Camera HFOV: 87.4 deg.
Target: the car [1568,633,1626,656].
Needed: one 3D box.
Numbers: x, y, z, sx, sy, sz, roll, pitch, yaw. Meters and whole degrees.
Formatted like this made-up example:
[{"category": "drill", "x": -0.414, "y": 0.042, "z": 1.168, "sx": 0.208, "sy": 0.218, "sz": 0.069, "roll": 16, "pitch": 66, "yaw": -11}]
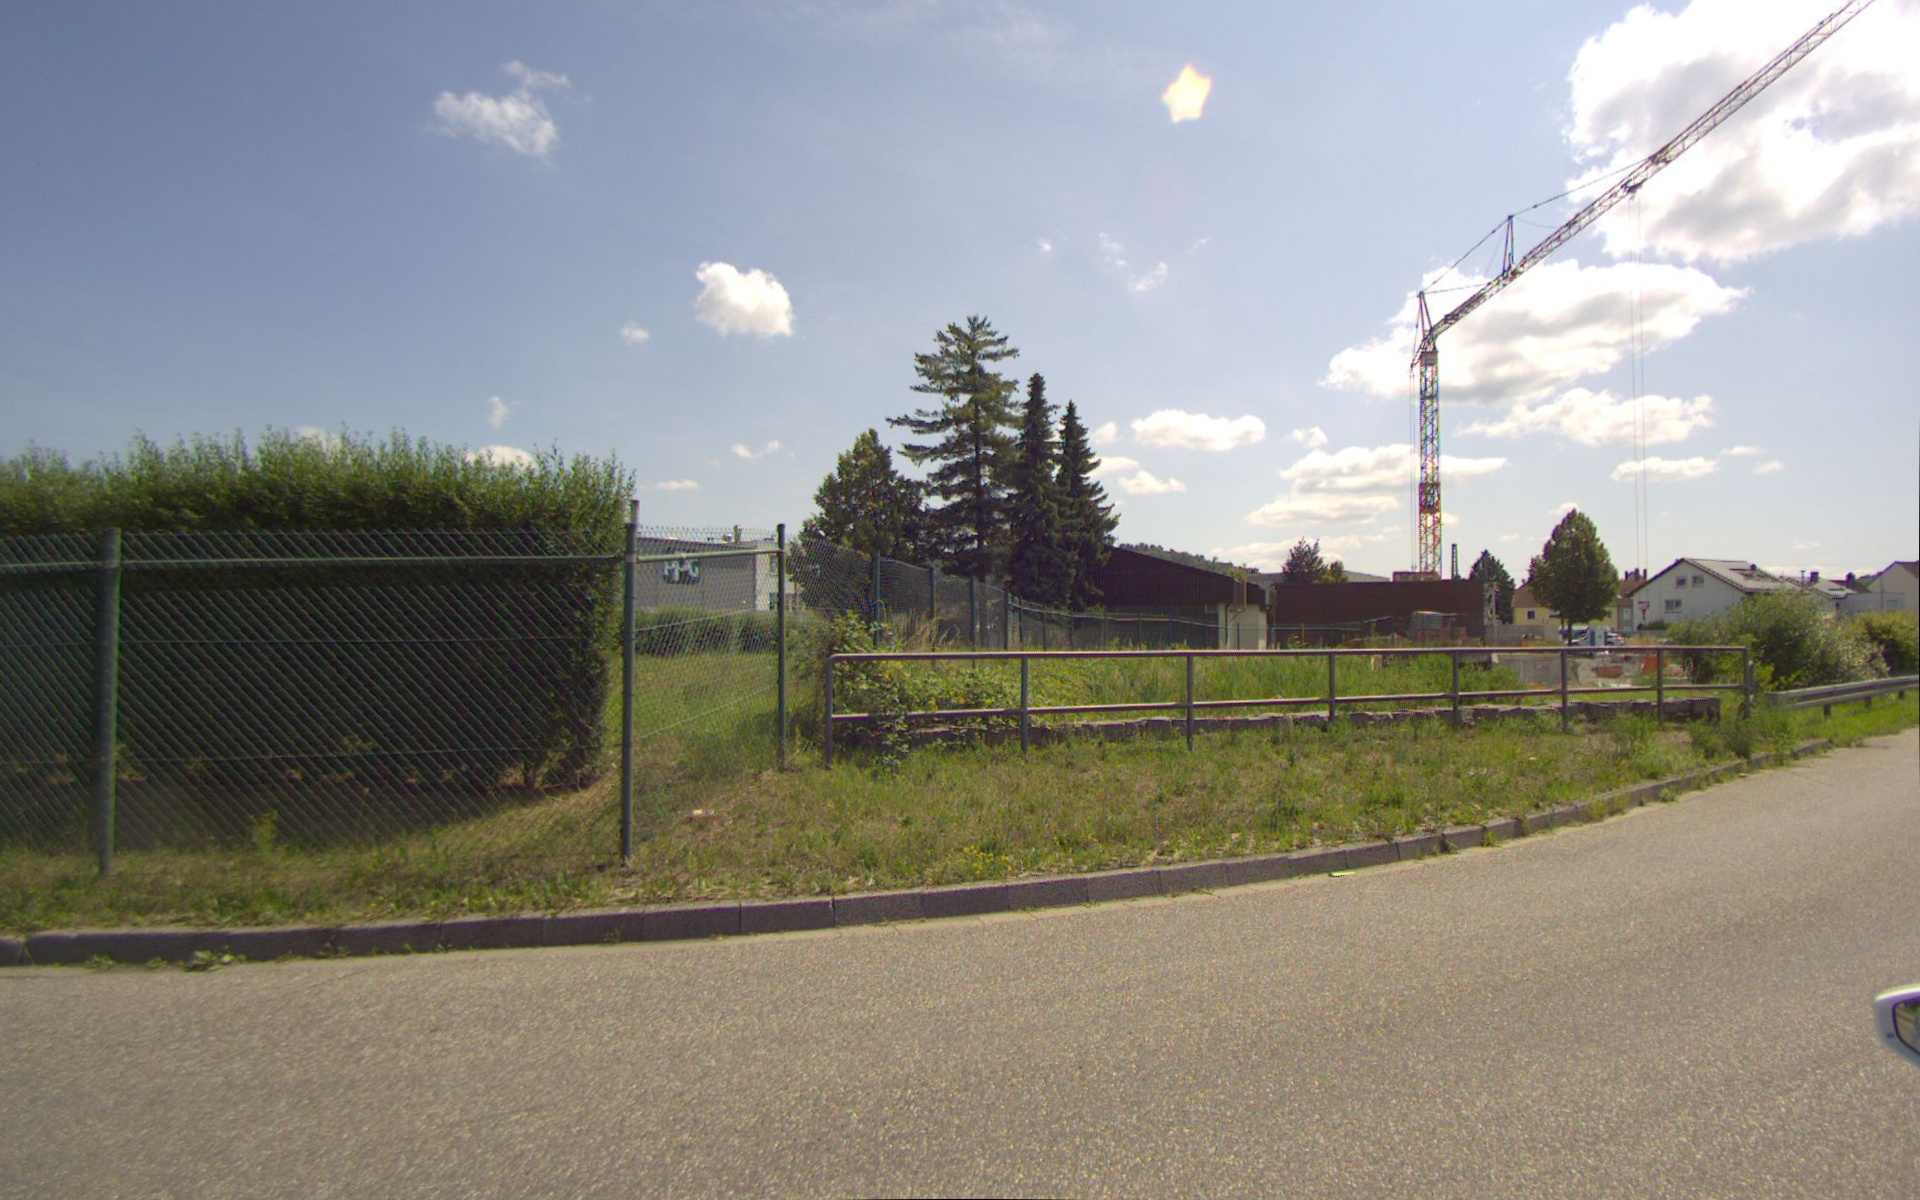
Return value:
[{"category": "car", "x": 59.088, "y": 4.098, "z": 93.230, "sx": 4.329, "sy": 2.040, "sz": 1.998, "roll": 0, "pitch": -1, "yaw": 26}]
